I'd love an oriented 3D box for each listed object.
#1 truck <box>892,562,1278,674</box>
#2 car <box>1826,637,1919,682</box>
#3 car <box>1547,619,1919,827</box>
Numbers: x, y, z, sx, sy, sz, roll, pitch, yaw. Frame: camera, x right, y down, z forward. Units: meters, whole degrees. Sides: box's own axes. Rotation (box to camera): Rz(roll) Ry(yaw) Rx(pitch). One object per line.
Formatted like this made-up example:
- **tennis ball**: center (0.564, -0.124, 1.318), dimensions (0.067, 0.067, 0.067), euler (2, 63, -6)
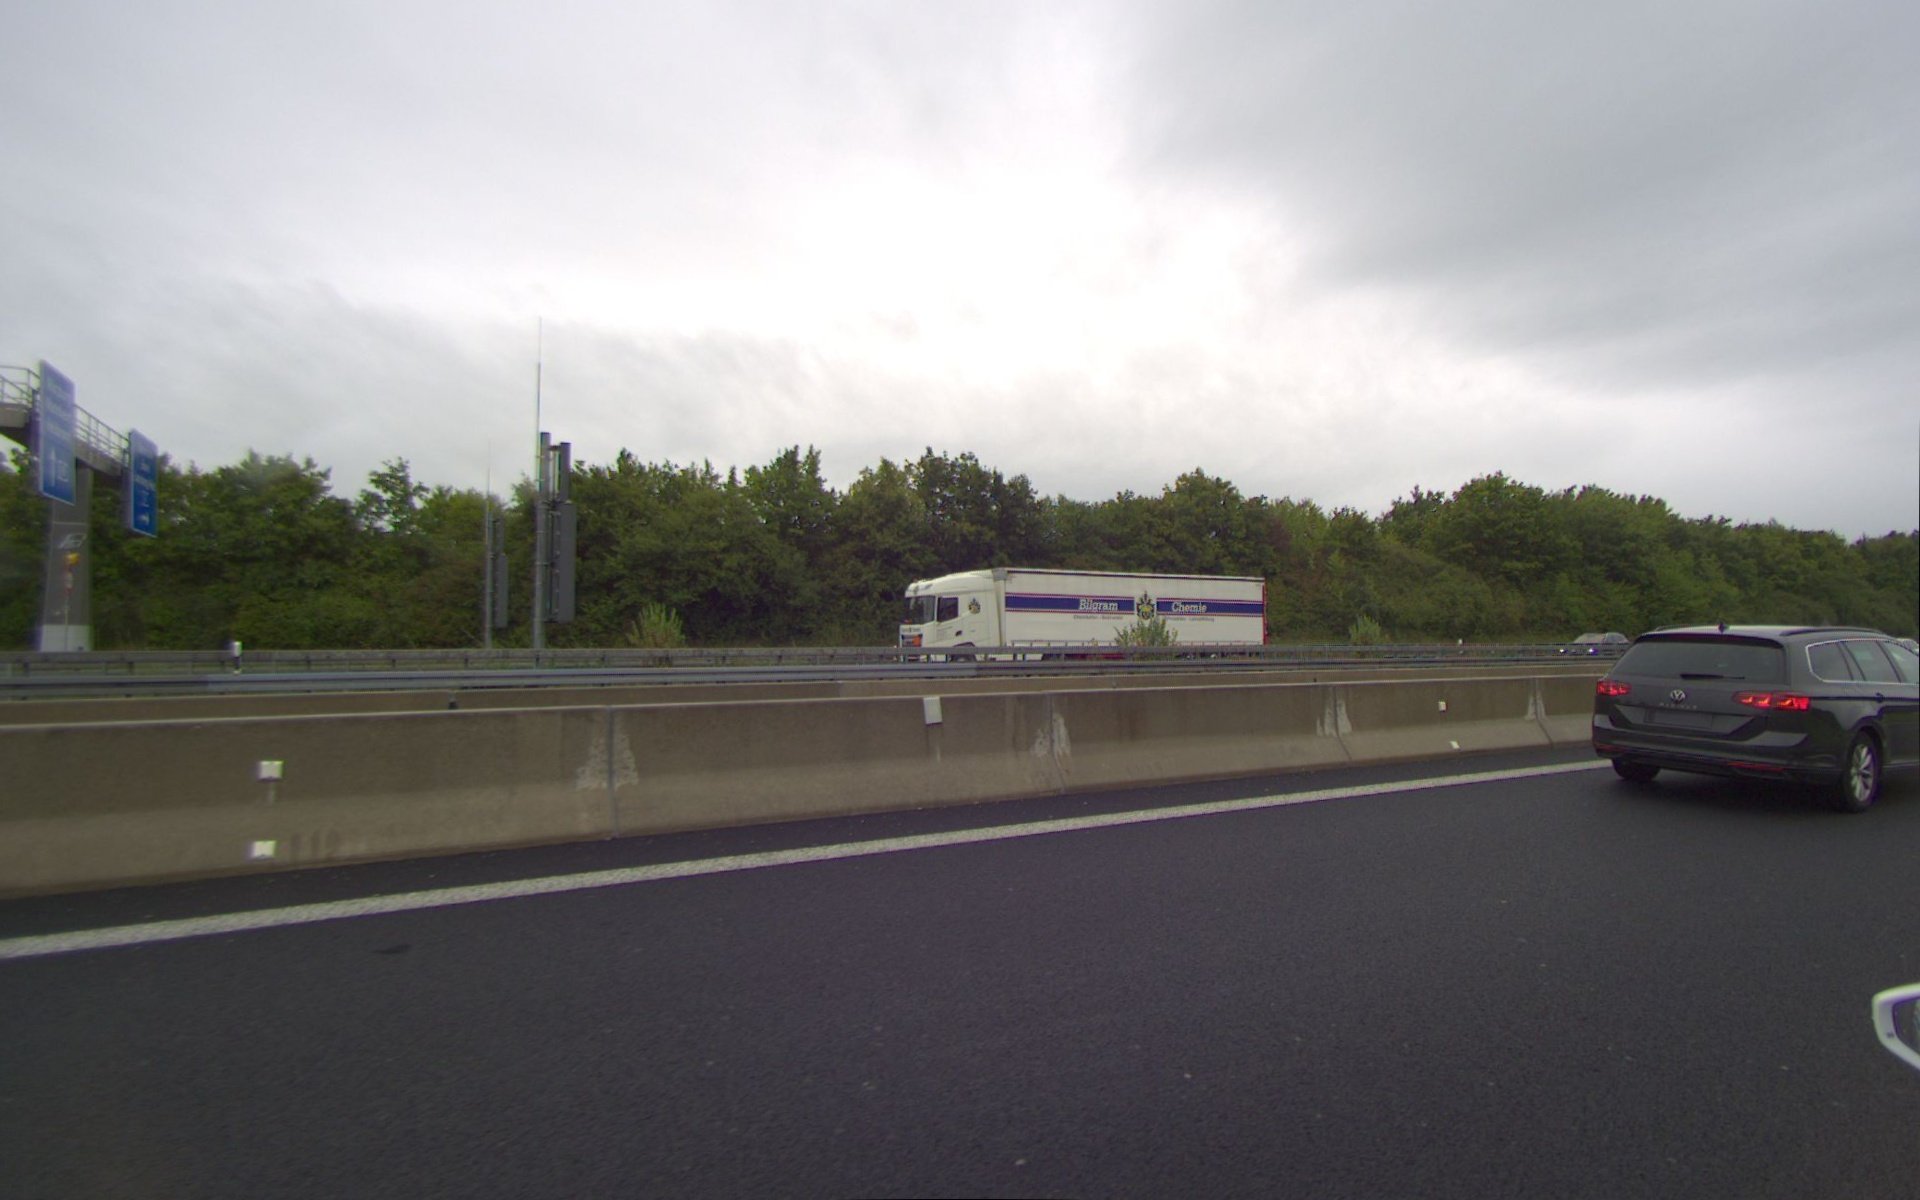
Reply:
- **truck**: center (5.569, 0.820, 40.156), dimensions (16.932, 3.859, 3.163), euler (1, -2, -30)
- **car**: center (37.245, 2.364, 40.748), dimensions (4.263, 1.684, 1.984), euler (1, -1, -31)
- **car**: center (7.680, 0.958, 9.266), dimensions (4.745, 1.478, 1.779), euler (1, 0, -30)
